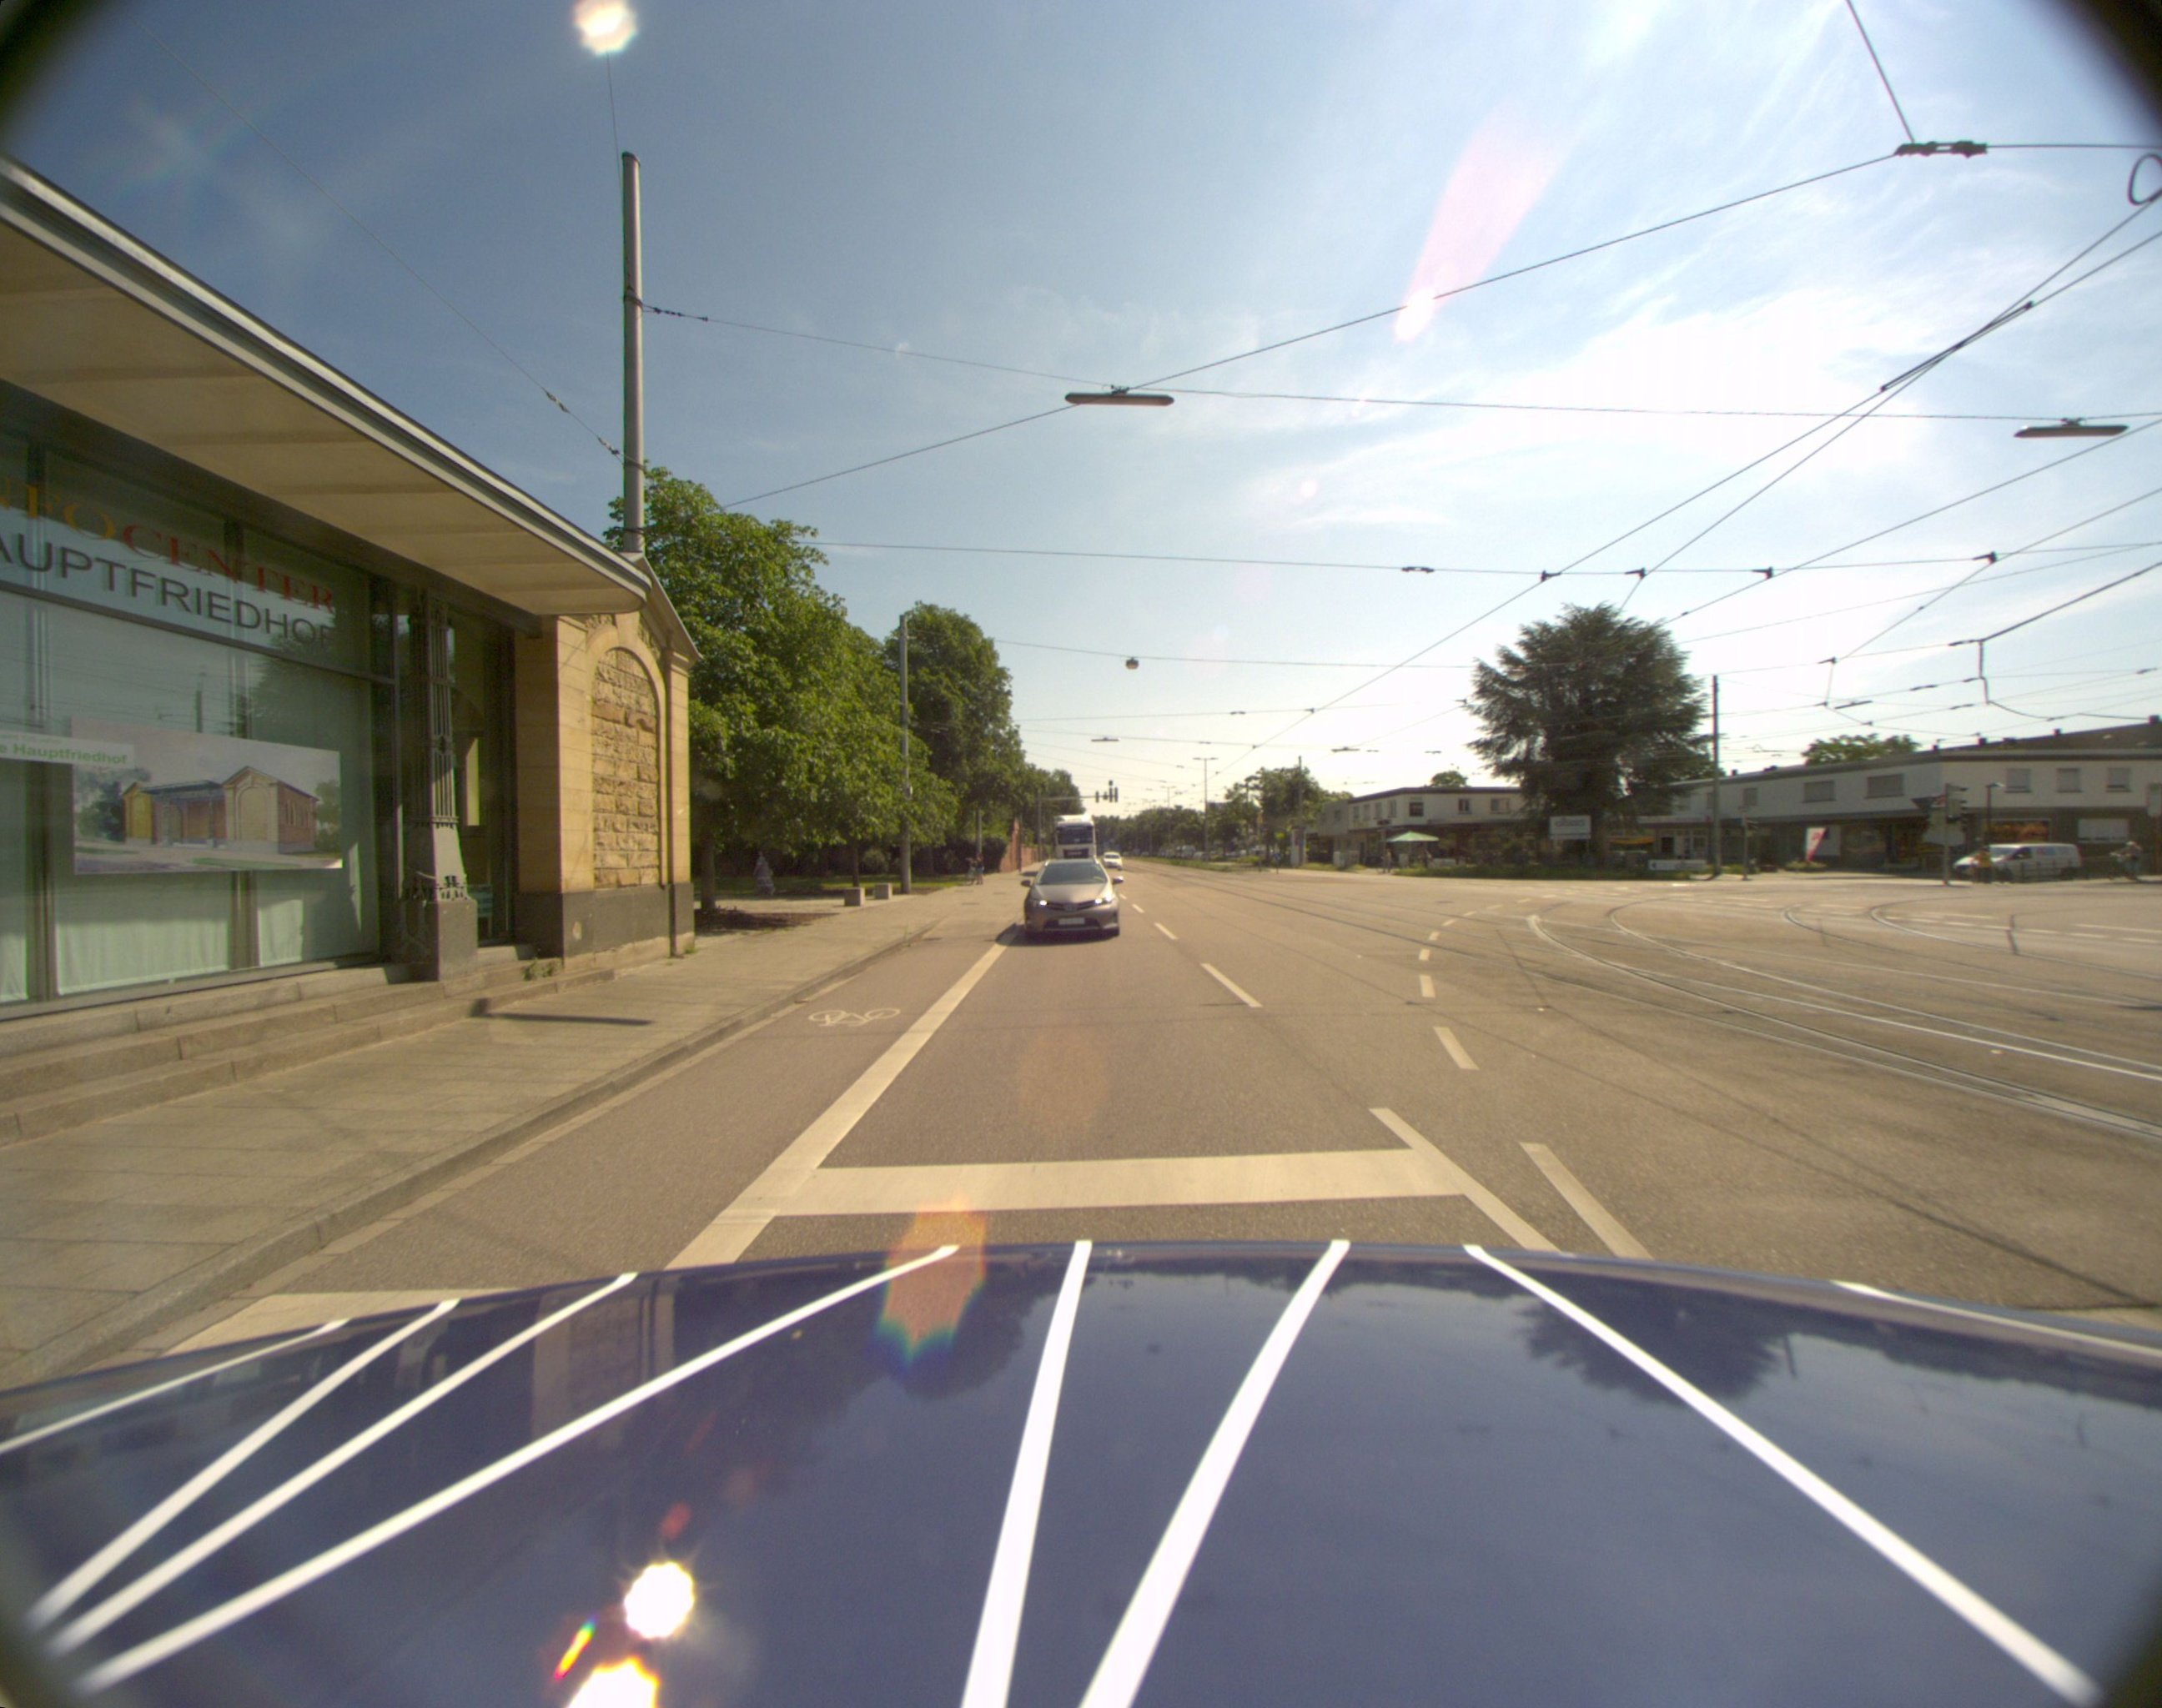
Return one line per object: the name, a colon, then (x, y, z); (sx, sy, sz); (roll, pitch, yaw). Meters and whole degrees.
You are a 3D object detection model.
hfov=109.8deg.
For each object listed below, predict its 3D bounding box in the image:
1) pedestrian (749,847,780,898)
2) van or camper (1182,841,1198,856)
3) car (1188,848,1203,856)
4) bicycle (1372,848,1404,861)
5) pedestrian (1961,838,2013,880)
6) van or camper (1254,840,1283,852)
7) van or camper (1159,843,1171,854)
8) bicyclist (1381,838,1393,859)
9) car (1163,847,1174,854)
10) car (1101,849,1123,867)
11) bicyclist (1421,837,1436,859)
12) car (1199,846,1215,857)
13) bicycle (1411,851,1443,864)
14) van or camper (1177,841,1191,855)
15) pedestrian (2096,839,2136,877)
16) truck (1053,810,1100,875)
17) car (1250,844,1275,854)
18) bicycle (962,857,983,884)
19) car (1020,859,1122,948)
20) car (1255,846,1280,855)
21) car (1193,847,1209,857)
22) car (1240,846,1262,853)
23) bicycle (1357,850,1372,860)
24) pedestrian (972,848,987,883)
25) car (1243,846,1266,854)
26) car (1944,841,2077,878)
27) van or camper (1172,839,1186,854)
pedestrian: (-10.605, 0.604, 25.458); (0.706, 1.672, 0.652); (0, 1, 6)
van or camper: (19.511, -1.027, 135.891); (2.040, 2.617, 4.839); (0, 1, 0)
car: (19.718, -0.351, 130.546); (1.893, 1.486, 4.231); (0, 1, 0)
bicycle: (22.621, 0.020, 55.986); (2.131, 0.941, 0.536); (0, 1, 25)
pedestrian: (39.798, 0.227, 33.387); (1.201, 1.827, 0.896); (0, 1, 0)
van or camper: (43.799, -1.925, 177.497); (6.081, 2.715, 2.299); (0, 1, 2)
van or camper: (19.775, -1.342, 178.759); (2.114, 2.604, 5.451); (1, 1, 0)
bicyclist: (22.534, -0.425, 55.983); (0.764, 1.549, 0.633); (2, 2, 26)
car: (19.808, -0.870, 172.244); (1.893, 1.551, 4.231); (0, 1, 0)
car: (2.674, 0.325, 65.805); (1.770, 1.552, 4.066); (1, 1, 0)
bicyclist: (24.959, -0.400, 54.560); (0.633, 1.565, 0.764); (-1, 1, -32)
car: (19.899, -0.412, 119.945); (1.892, 1.486, 4.285); (-3, 1, 1)
bicycle: (24.870, 0.241, 54.648); (0.577, 0.885, 2.131); (-1, 1, -32)
van or camper: (19.399, -1.134, 142.945); (2.040, 2.617, 4.839); (0, 1, 0)
pedestrian: (45.052, 0.177, 33.086); (0.659, 1.617, 0.785); (0, 1, 0)
truck: (-0.254, -0.754, 50.308); (2.746, 3.852, 9.109); (1, 1, 0)
car: (29.796, -0.793, 124.859); (3.749, 1.560, 1.950); (0, 1, -2)
bicycle: (-4.839, 0.713, 33.930); (0.537, 1.105, 1.807); (1, 1, 6)
car: (-0.163, 0.880, 15.475); (1.743, 1.424, 4.461); (-2, 1, 0)
car: (30.058, -0.572, 122.396); (3.625, 1.354, 1.712); (0, 1, -2)
car: (19.758, -0.339, 125.345); (1.893, 1.551, 4.284); (0, 1, 0)
car: (30.921, -0.752, 137.984); (3.625, 1.274, 1.712); (0, 1, -2)
bicycle: (27.653, 0.127, 74.131); (0.760, 0.977, 1.911); (0, 1, 0)
pedestrian: (-4.544, 0.505, 33.969); (0.542, 1.540, 0.663); (2, 1, -1)
car: (30.284, -0.687, 132.865); (3.625, 1.274, 1.812); (0, 1, -2)
car: (48.085, 0.254, 39.372); (4.656, 1.851, 1.776); (0, 1, 0)
van or camper: (19.417, -1.426, 150.834); (2.128, 2.968, 5.280); (0, 1, 0)
